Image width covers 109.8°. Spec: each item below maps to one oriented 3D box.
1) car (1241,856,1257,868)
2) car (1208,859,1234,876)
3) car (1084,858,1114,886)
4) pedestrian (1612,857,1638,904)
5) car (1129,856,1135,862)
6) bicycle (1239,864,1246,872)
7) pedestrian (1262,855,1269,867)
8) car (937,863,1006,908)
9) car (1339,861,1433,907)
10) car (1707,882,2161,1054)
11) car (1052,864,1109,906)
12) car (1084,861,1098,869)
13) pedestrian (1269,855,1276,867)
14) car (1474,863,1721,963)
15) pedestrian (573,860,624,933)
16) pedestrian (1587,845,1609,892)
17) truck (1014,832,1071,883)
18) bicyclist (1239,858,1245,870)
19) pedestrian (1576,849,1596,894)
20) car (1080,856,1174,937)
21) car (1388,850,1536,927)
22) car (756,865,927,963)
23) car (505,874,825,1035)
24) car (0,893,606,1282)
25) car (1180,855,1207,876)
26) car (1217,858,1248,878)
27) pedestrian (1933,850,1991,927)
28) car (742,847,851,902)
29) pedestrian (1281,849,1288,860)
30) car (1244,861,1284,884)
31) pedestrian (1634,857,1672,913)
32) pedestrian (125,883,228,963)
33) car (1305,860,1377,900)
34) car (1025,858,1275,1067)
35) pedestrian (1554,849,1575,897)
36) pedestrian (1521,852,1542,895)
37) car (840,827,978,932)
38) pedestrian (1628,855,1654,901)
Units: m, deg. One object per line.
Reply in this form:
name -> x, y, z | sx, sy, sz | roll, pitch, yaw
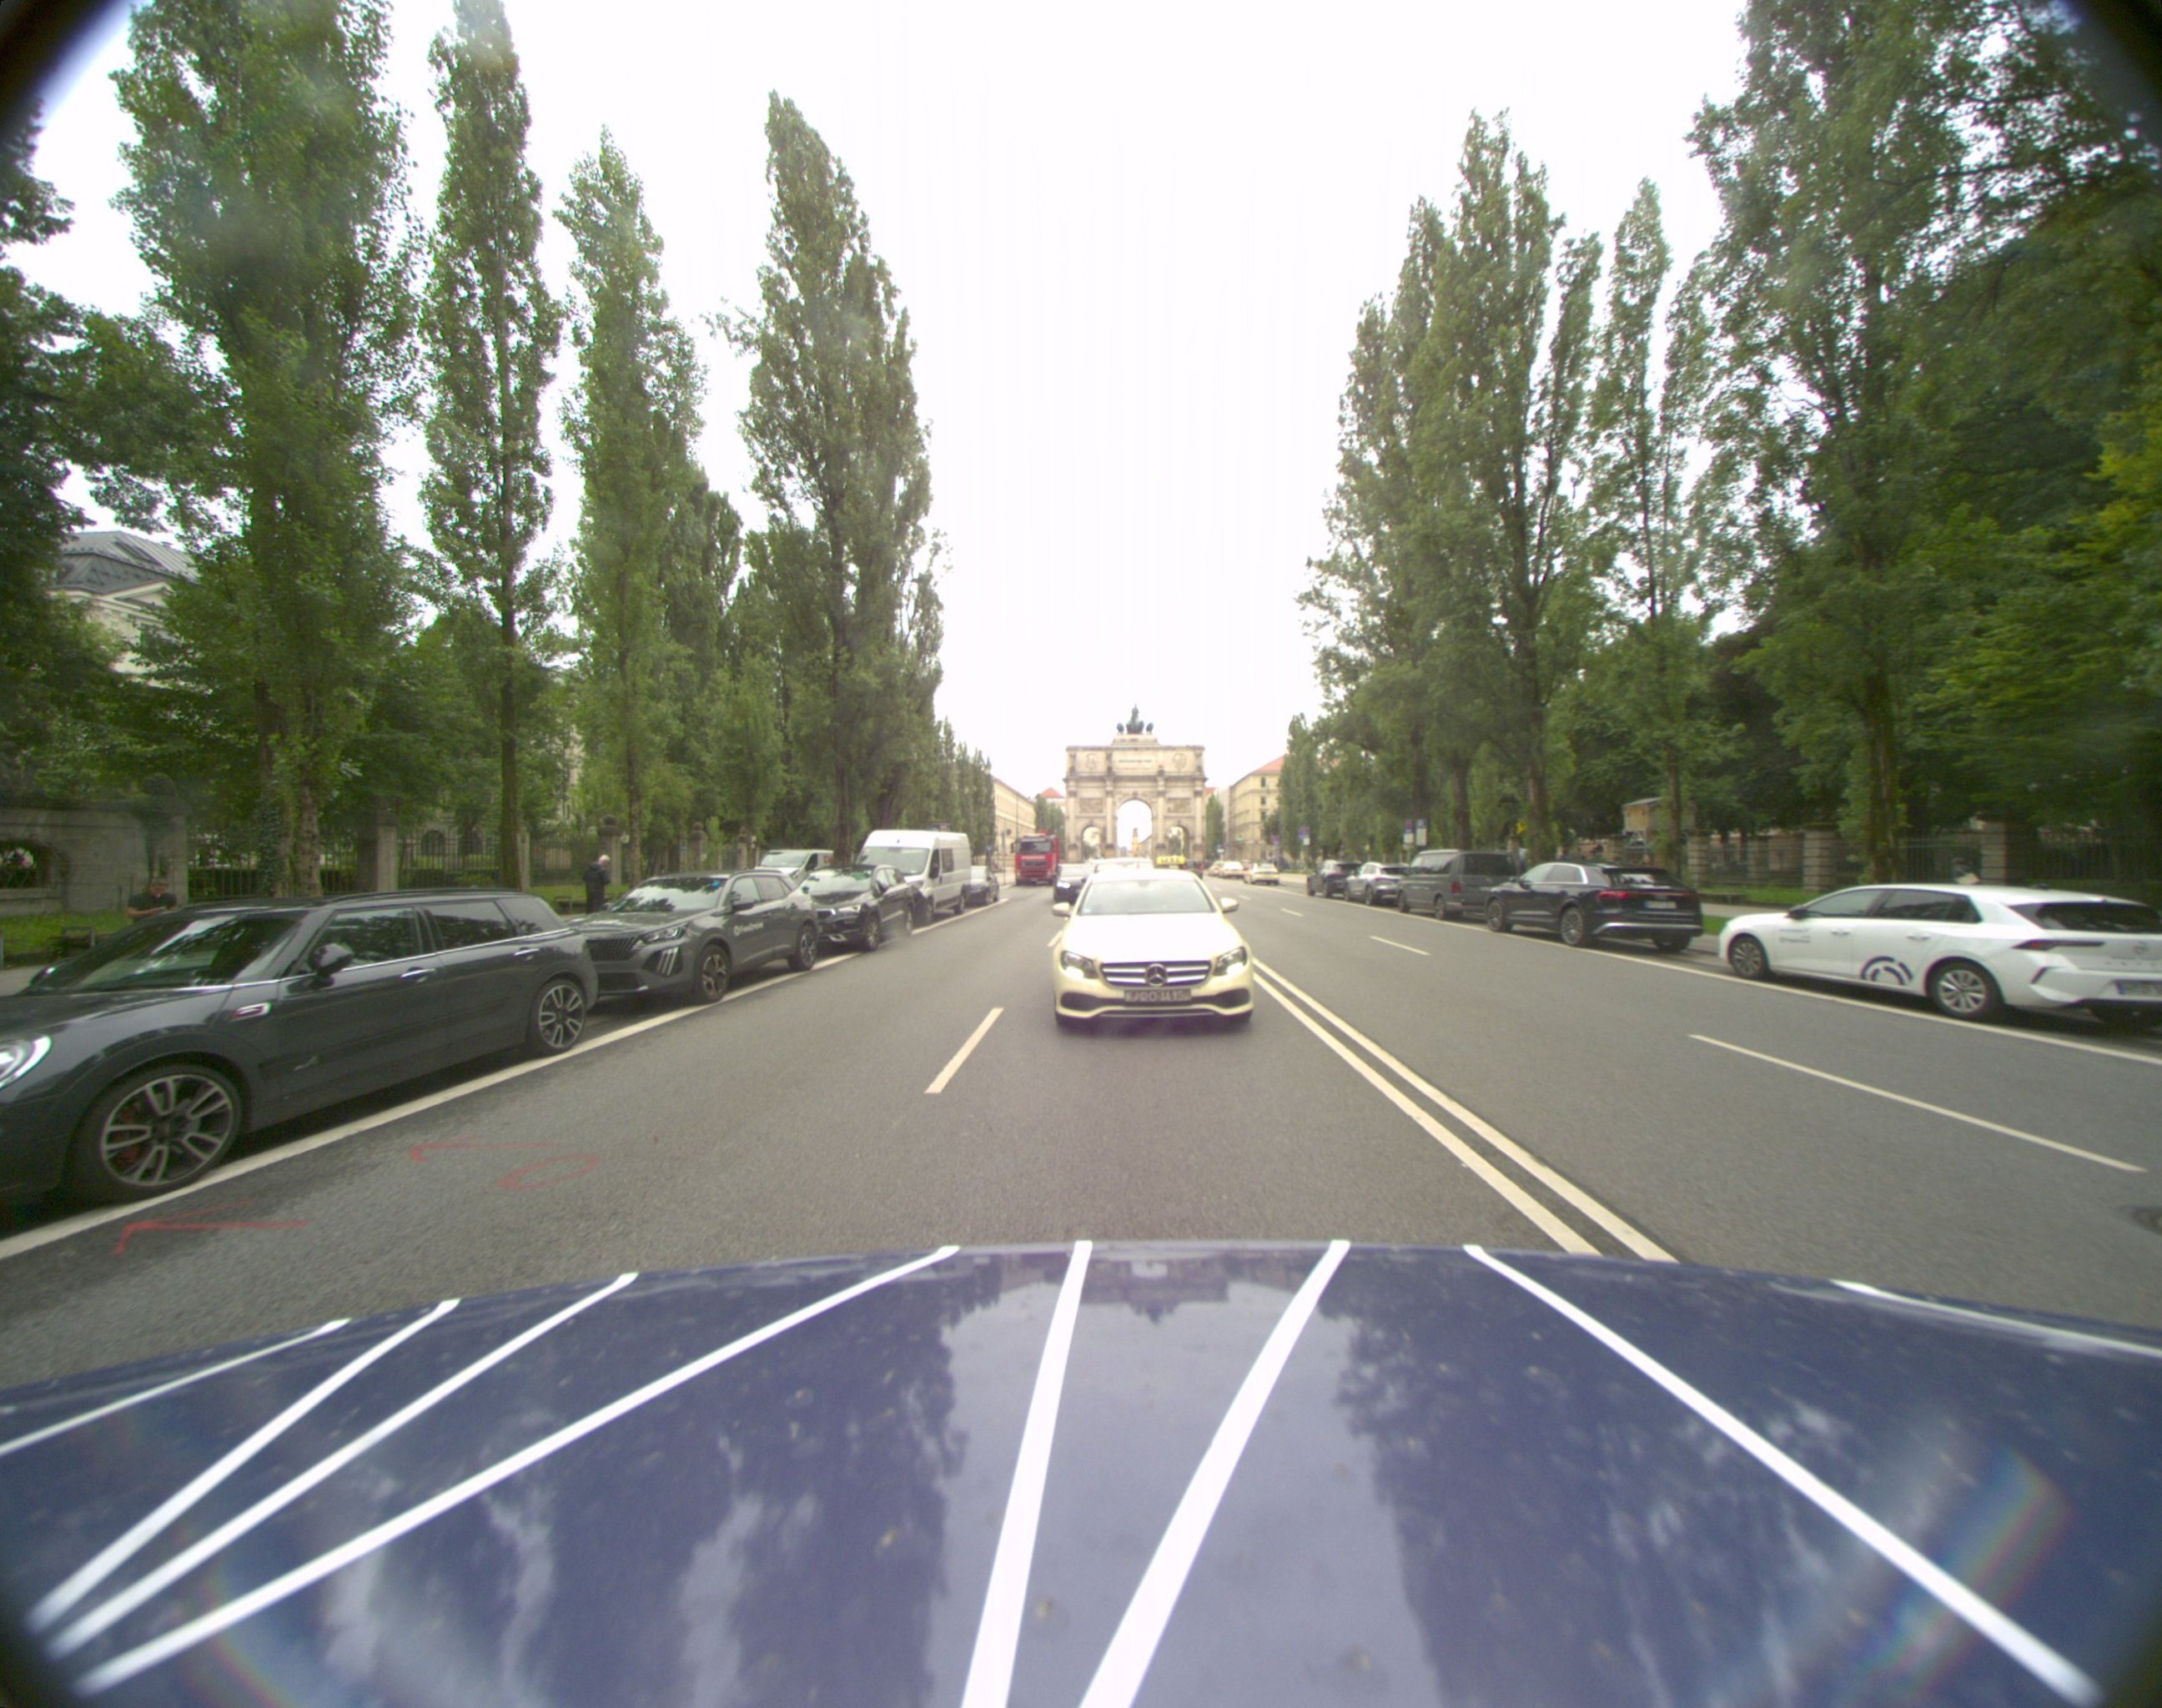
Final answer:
car -> 29.016, 1.392, 131.300 | 2.003, 1.844, 4.992 | 1, 1, 5
car -> 13.581, 1.272, 73.811 | 1.822, 1.550, 4.859 | 2, 0, 3
car -> 1.290, 1.201, 52.245 | 1.889, 1.846, 4.314 | -1, 0, 4
pedestrian -> 19.840, 0.953, 27.709 | 0.551, 1.691, 0.532 | -1, 1, 2
car -> 17.424, 1.668, 258.048 | 1.998, 2.002, 4.396 | 0, 0, 3
bicycle -> 20.185, 1.711, 95.193 | 0.709, 0.933, 1.736 | -1, 0, 6
pedestrian -> 24.299, 0.923, 100.031 | 0.845, 1.668, 0.968 | 0, 0, 20
car -> -3.998, 1.127, 28.412 | 1.758, 1.441, 4.001 | -3, 0, 3
car -> 11.429, 1.060, 28.844 | 1.895, 1.575, 4.655 | 1, 0, 3
car -> 10.110, 1.155, 9.204 | 1.680, 1.414, 4.238 | 1, 0, 3
car -> 0.059, 1.091, 28.406 | 1.922, 1.320, 4.412 | -2, 0, 2
car -> 2.262, 2.392, 166.943 | 1.784, 1.739, 4.327 | 0, 0, 19
pedestrian -> 25.107, 0.909, 99.630 | 0.845, 1.668, 0.968 | 0, 0, 20
car -> 10.267, 1.051, 15.713 | 1.819, 1.599, 5.054 | 2, 0, 3
pedestrian -> -11.111, 0.962, 17.512 | 0.717, 1.649, 0.633 | -1, 0, 2
pedestrian -> 21.555, 0.599, 31.660 | 0.551, 1.948, 0.532 | -1, 1, 2
truck -> -2.411, 0.222, 51.837 | 2.719, 3.091, 10.429 | 0, 0, 3
bicyclist -> 20.181, 1.299, 95.205 | 0.695, 1.489, 0.862 | 0, 0, 7
pedestrian -> 20.794, 0.722, 31.293 | 0.434, 1.824, 0.612 | -1, 1, 3
car -> 1.096, 0.920, 18.333 | 1.953, 1.615, 4.412 | -2, 0, 3
car -> 10.920, 0.906, 22.261 | 1.998, 1.945, 4.938 | 1, 0, 3
car -> -4.503, 1.052, 15.012 | 1.825, 1.581, 4.224 | -1, 0, 3
car -> -4.919, 1.080, 9.763 | 1.655, 1.494, 4.114 | -2, 0, 3
car -> -5.302, 1.115, 4.920 | 1.637, 1.437, 4.149 | -3, 0, 3
car -> 9.362, 0.942, 63.668 | 1.789, 1.646, 4.114 | 1, 0, 3
car -> 13.305, 1.161, 66.960 | 1.942, 1.615, 4.965 | 0, 1, 3
pedestrian -> 20.233, 0.778, 17.453 | 0.551, 1.737, 0.673 | -1, 1, 2
car -> -10.845, 0.728, 29.391 | 1.998, 1.935, 5.084 | 0, 0, 4
pedestrian -> 34.705, 0.103, 129.677 | 0.796, 2.002, 0.754 | 0, 0, -32
car -> 12.571, 1.244, 52.377 | 1.935, 1.488, 4.792 | 0, -1, 4
pedestrian -> 17.957, 0.967, 23.866 | 0.584, 1.710, 0.787 | -1, 0, 2
pedestrian -> -14.787, 1.111, 12.442 | 0.881, 1.237, 0.672 | 1, 0, 3
car -> 11.395, 1.100, 33.590 | 1.786, 1.586, 4.615 | 2, 0, 3
car -> 0.725, 0.884, 8.374 | 1.919, 1.566, 4.690 | -2, 0, 5
pedestrian -> 20.074, 0.789, 31.538 | 0.551, 1.948, 0.532 | -1, 1, 2
pedestrian -> 18.599, 0.793, 31.349 | 0.551, 1.737, 0.532 | -1, 1, 2
car -> -4.537, 0.612, 21.287 | 2.079, 2.464, 6.285 | -1, 0, 3
pedestrian -> 20.427, 0.877, 27.715 | 0.551, 1.659, 0.532 | -1, 1, 2
